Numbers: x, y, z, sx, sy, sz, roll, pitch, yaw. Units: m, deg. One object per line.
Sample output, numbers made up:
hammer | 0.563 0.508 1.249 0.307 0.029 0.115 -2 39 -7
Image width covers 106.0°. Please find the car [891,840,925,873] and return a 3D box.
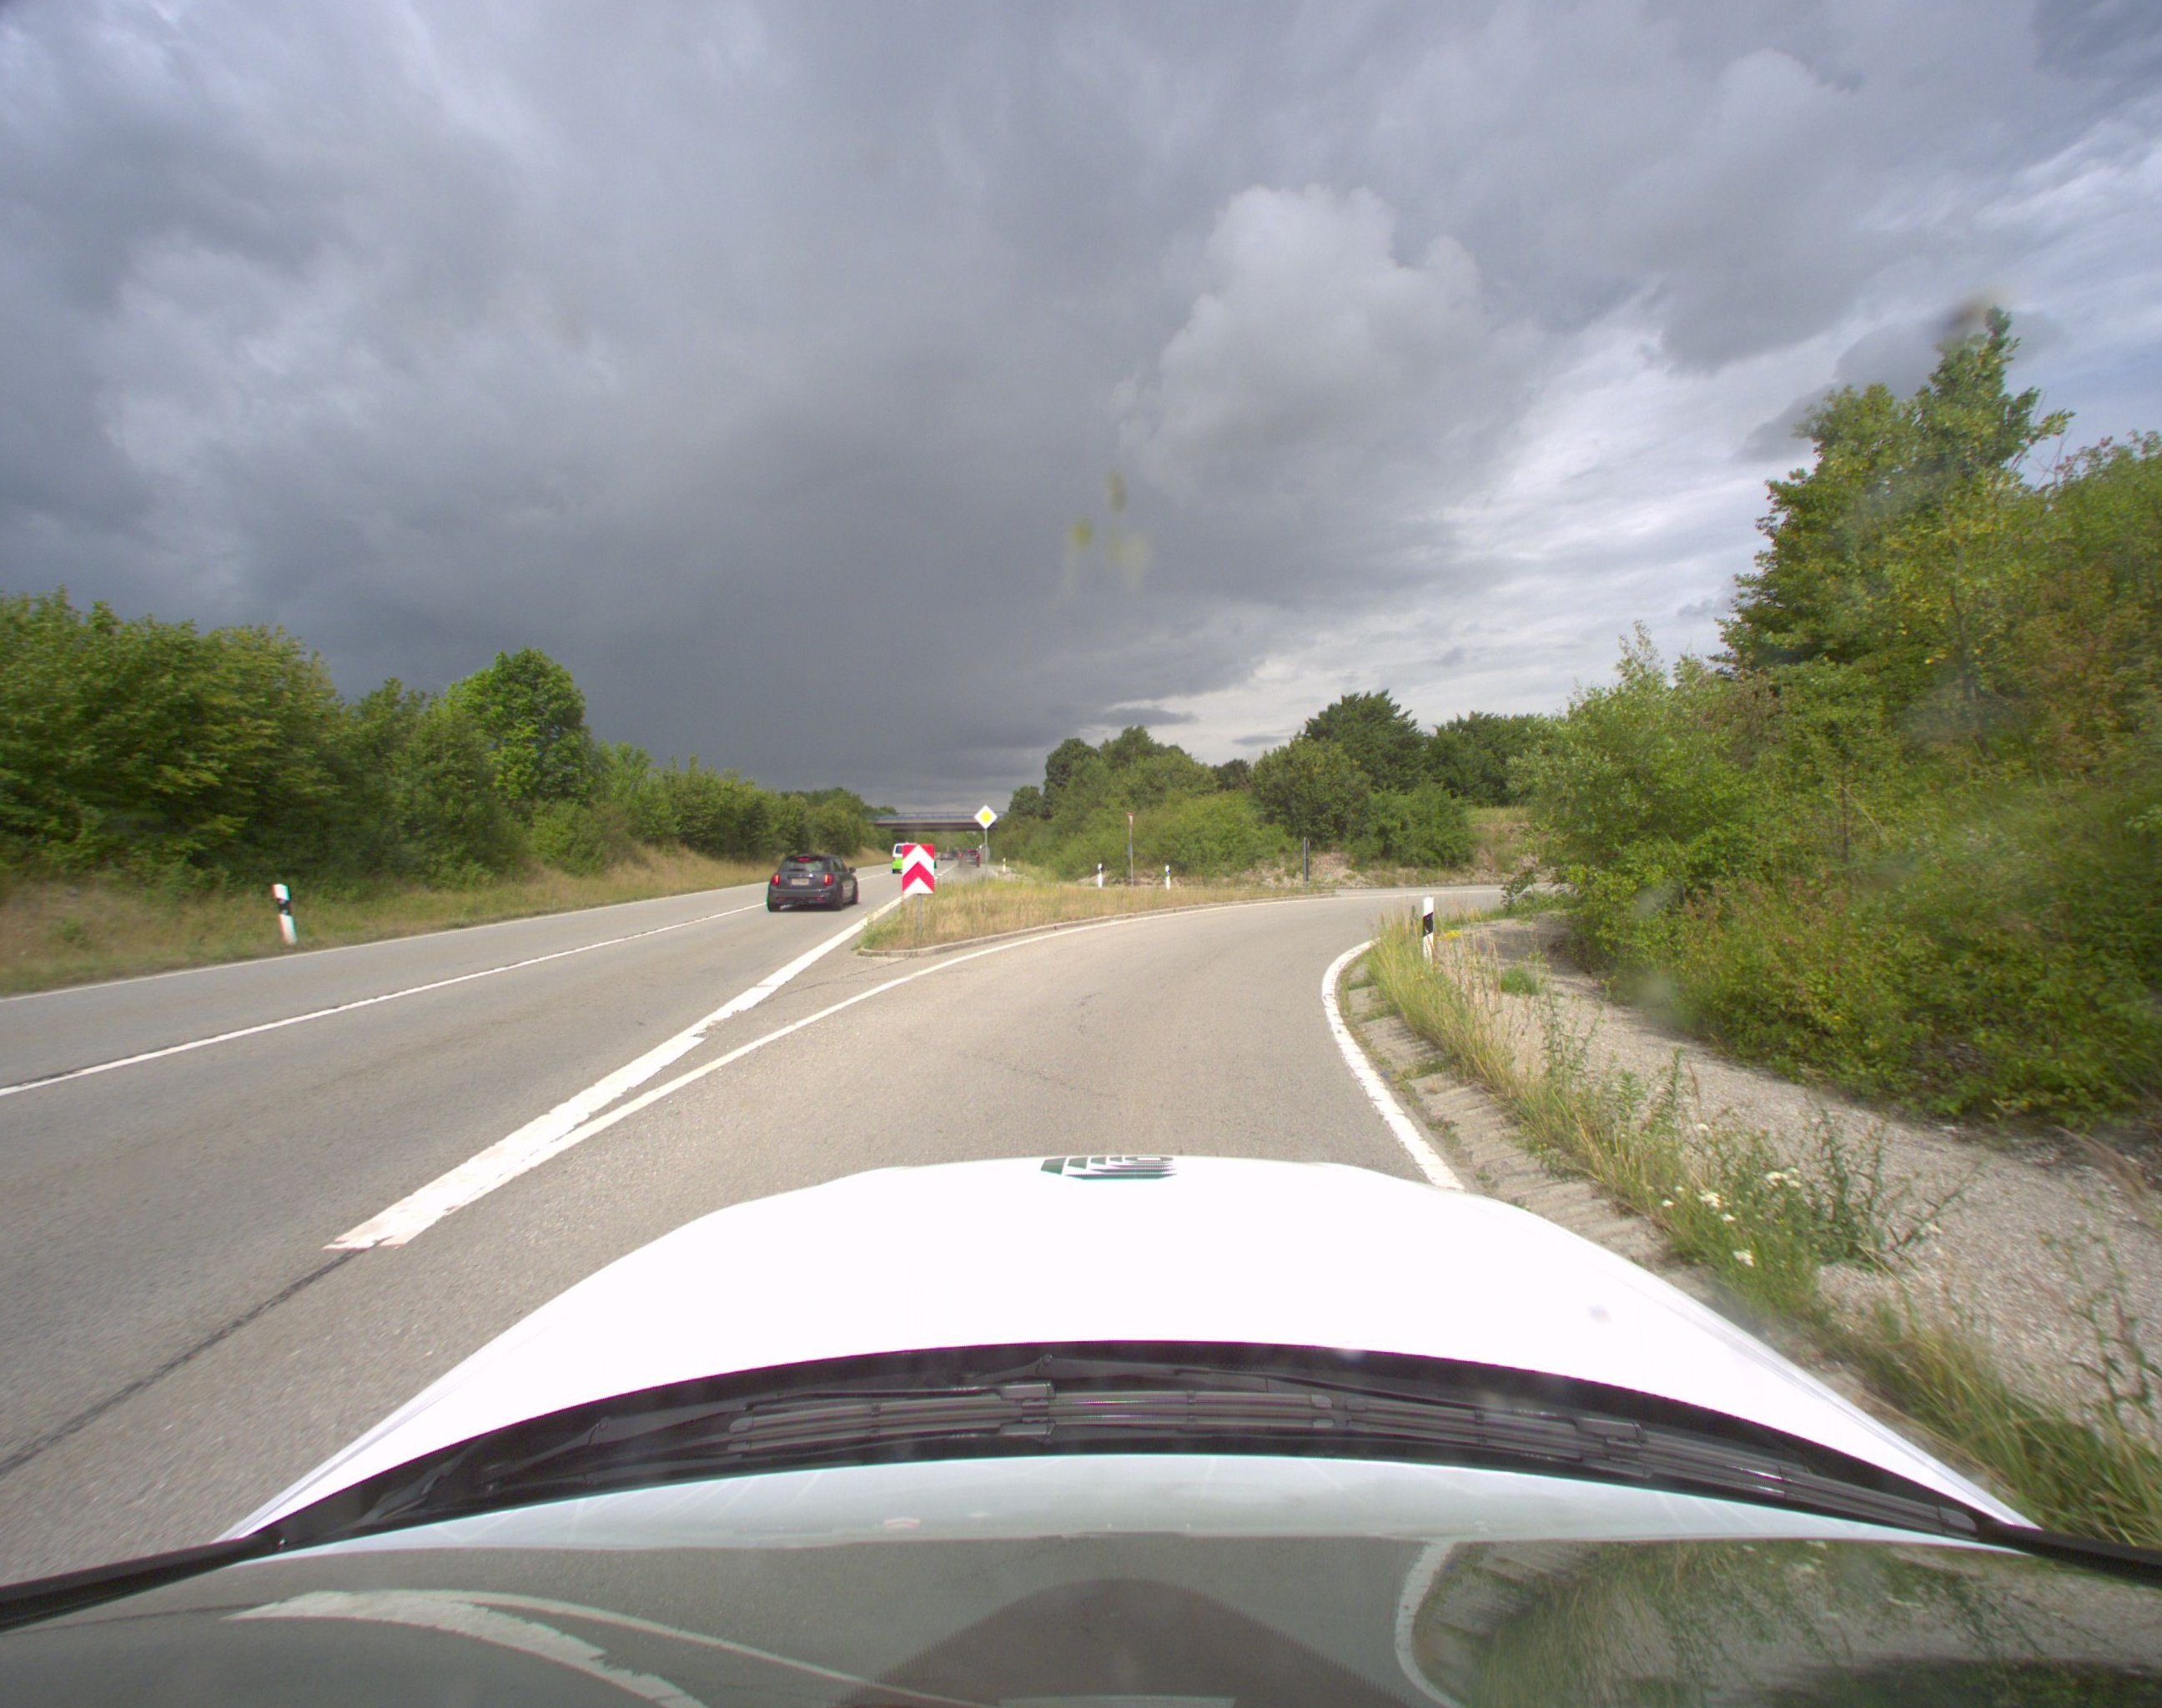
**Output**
car | -11.328 0.151 53.452 1.818 2.054 3.990 1 0 -7

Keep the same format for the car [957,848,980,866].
car | -10.223 0.232 73.784 1.993 1.552 3.987 1 0 -9

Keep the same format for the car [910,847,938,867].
car | -13.130 0.243 68.381 1.992 1.552 3.990 1 0 -8

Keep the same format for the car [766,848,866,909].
car | -6.833 0.586 21.366 1.755 1.427 3.990 1 0 -7

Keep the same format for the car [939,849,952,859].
car | -20.100 0.003 120.818 1.665 1.403 3.992 0 0 -6

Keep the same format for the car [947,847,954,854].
car | -40.235 -1.046 250.887 1.990 2.013 3.993 0 0 -5

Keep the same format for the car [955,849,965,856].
car | -22.486 -0.272 151.205 1.666 1.403 3.990 0 0 -7

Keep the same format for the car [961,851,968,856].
car | -29.485 -0.096 205.855 1.665 1.403 3.992 0 0 -6
